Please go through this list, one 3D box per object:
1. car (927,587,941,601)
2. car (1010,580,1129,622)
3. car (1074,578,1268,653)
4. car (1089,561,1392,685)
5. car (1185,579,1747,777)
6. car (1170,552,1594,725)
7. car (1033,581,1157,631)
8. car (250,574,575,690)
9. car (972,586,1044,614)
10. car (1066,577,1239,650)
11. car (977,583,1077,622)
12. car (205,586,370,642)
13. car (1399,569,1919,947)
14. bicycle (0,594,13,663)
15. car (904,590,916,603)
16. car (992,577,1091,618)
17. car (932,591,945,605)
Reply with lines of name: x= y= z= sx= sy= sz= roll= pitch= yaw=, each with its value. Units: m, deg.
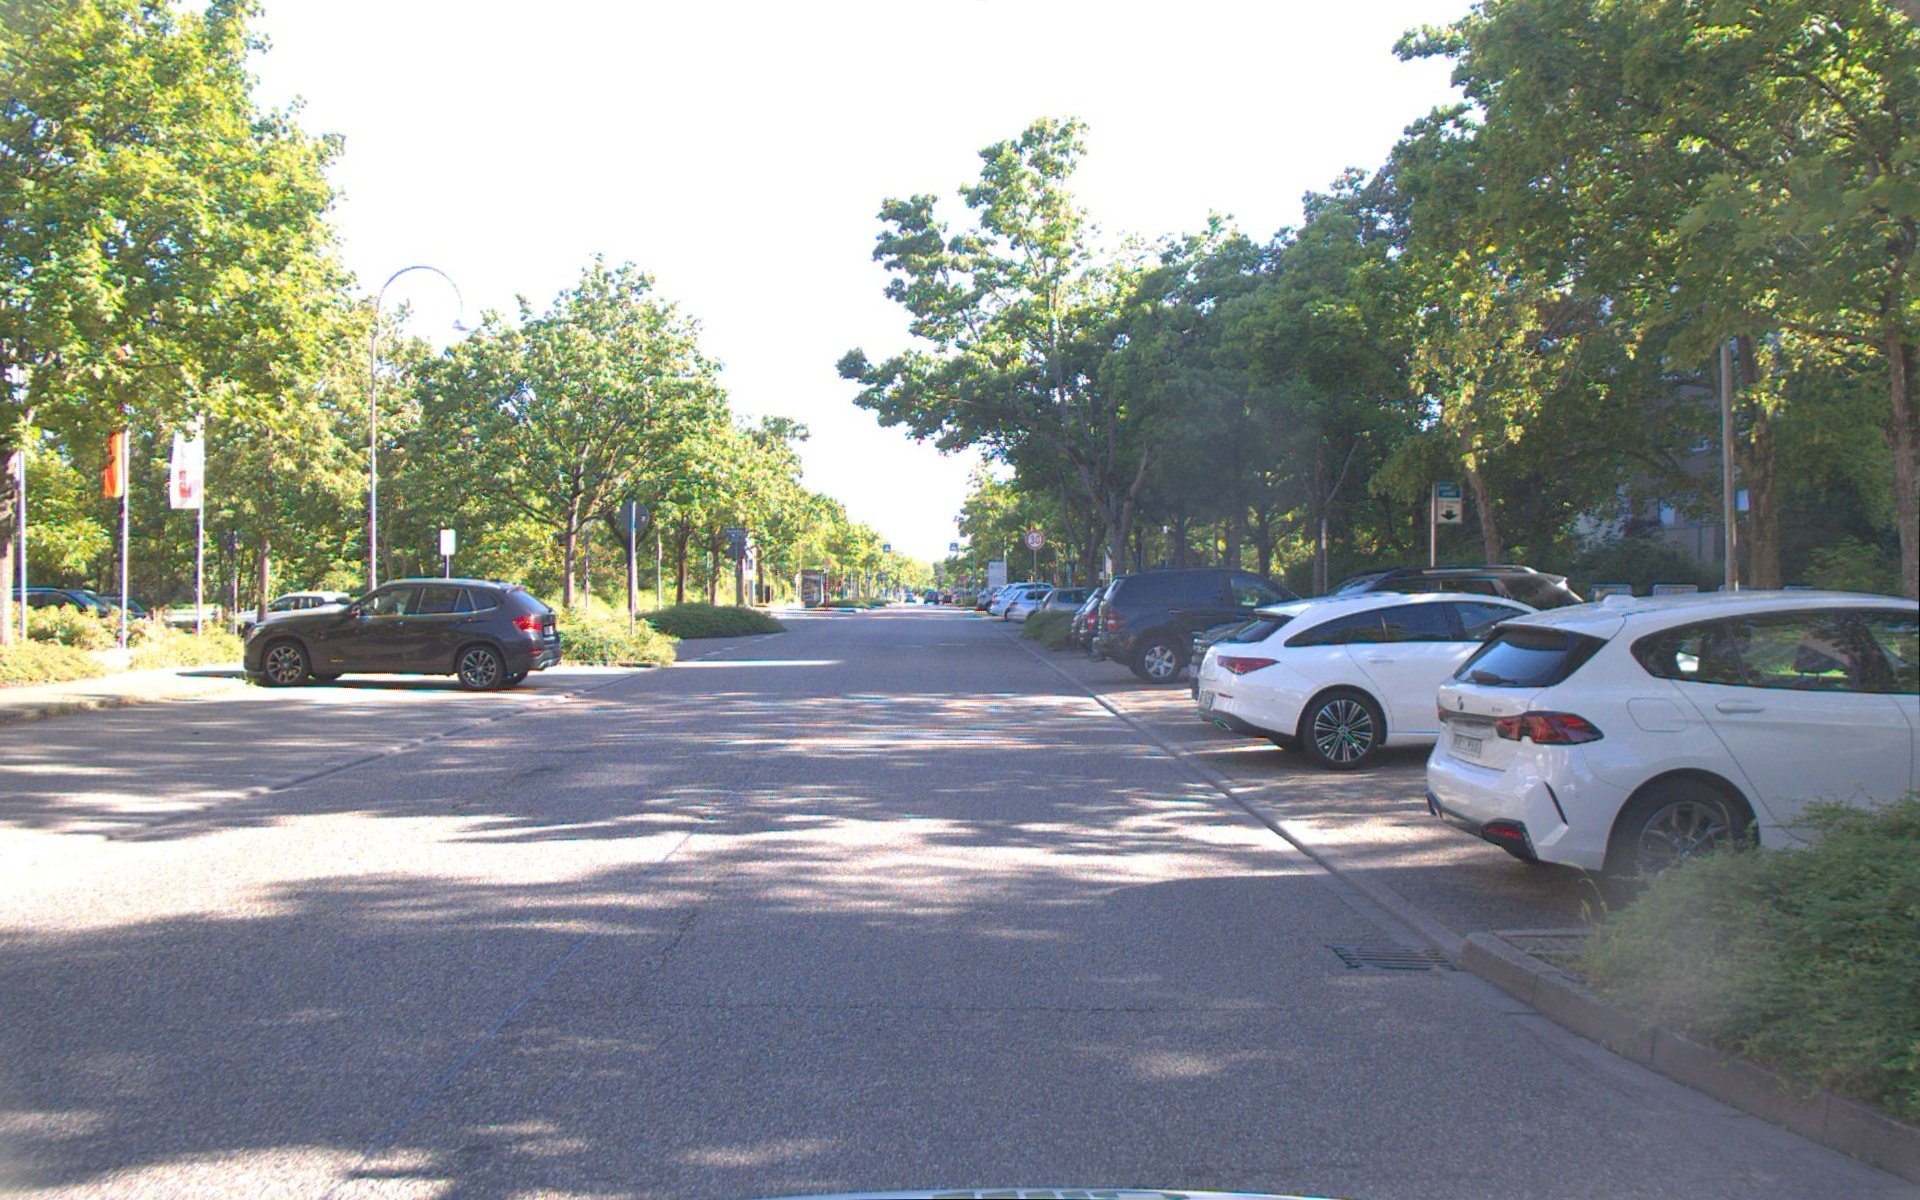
car: x=-3.685 y=-0.892 z=237.708 sx=1.953 sy=2.049 sz=4.000 roll=1 pitch=0 yaw=0
car: x=3.907 y=0.029 z=59.057 sx=4.184 sy=1.453 sz=1.828 roll=0 pitch=0 yaw=4
car: x=4.514 y=0.321 z=35.824 sx=3.906 sy=1.411 sz=1.822 roll=-3 pitch=0 yaw=-1
car: x=4.427 y=0.347 z=26.637 sx=4.493 sy=1.810 sz=2.000 roll=-1 pitch=0 yaw=-1
car: x=4.316 y=0.646 z=14.526 sx=4.354 sy=1.572 sz=1.816 roll=1 pitch=0 yaw=-4
car: x=4.412 y=0.395 z=17.691 sx=4.036 sy=1.646 sz=1.732 roll=-2 pitch=-1 yaw=-3
car: x=4.403 y=0.186 z=54.253 sx=3.906 sy=1.476 sz=1.717 roll=-2 pitch=1 yaw=-1
car: x=-7.865 y=0.444 z=24.026 sx=4.106 sy=1.546 sz=1.772 roll=1 pitch=0 yaw=0
car: x=2.816 y=0.014 z=97.298 sx=4.080 sy=1.453 sz=2.000 roll=-3 pitch=0 yaw=-1
car: x=4.463 y=0.311 z=38.606 sx=3.734 sy=1.525 sz=1.700 roll=-2 pitch=0 yaw=-4
car: x=2.934 y=0.098 z=72.934 sx=4.256 sy=1.515 sz=1.737 roll=-2 pitch=0 yaw=-3
car: x=-19.197 y=0.393 z=47.316 sx=3.993 sy=1.476 sz=1.625 roll=-2 pitch=0 yaw=0
car: x=4.701 y=0.668 z=8.500 sx=4.339 sy=1.620 sz=1.835 roll=-2 pitch=0 yaw=-4
bicycle: x=-15.141 y=0.441 z=24.966 sx=0.428 sy=1.066 sz=2.193 roll=1 pitch=0 yaw=-1
car: x=-7.484 y=-0.510 z=248.434 sx=1.791 sy=1.806 sz=3.739 roll=1 pitch=0 yaw=0
car: x=3.706 y=-0.130 z=75.648 sx=4.347 sy=1.676 sz=1.815 roll=-3 pitch=1 yaw=-3
car: x=-3.231 y=-0.269 z=250.124 sx=1.953 sy=2.049 sz=3.999 roll=1 pitch=0 yaw=-1
